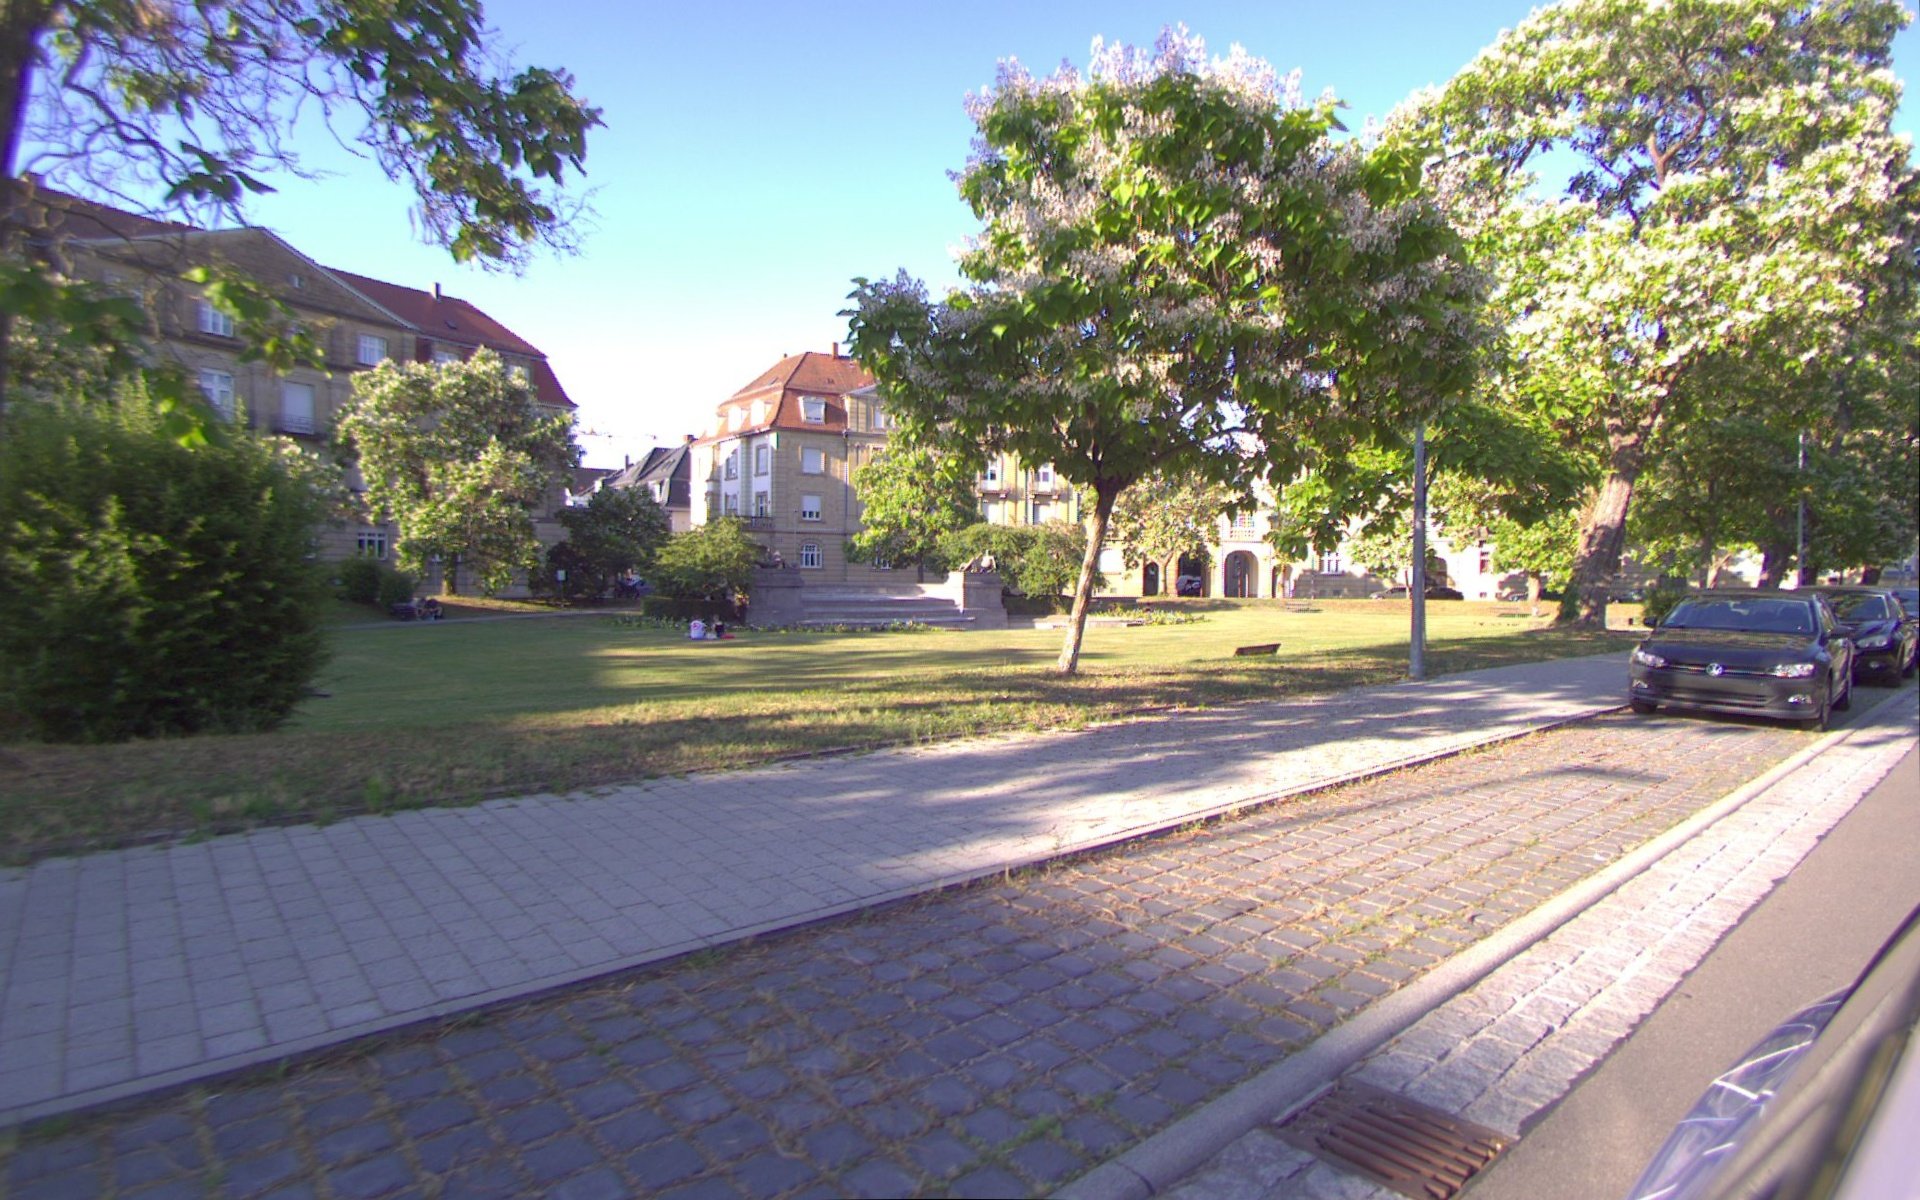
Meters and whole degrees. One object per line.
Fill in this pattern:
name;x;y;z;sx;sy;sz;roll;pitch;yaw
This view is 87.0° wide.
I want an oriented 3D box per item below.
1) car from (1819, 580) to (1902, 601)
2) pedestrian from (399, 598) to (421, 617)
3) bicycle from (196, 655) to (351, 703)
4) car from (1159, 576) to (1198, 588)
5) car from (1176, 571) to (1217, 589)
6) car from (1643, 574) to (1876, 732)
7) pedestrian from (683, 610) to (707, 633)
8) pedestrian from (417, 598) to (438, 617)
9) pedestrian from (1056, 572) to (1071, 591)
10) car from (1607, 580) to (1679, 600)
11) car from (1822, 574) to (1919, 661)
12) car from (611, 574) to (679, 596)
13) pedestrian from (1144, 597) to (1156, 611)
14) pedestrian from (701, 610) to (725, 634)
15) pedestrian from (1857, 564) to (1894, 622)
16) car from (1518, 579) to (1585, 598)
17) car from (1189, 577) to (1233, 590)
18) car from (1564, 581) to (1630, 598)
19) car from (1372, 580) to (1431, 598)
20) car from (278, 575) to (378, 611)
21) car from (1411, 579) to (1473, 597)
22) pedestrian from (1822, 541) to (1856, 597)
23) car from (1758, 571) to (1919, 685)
car;65.062;-0.695;73.144;4.440;1.436;1.905;2;2;44
pedestrian;-24.080;0.306;44.306;0.584;0.804;0.658;1;2;38
bicycle;-11.782;1.340;17.496;1.774;0.622;1.775;0;1;-17
car;26.838;-2.206;124.227;4.283;1.435;1.822;0;2;-6
car;27.590;-2.362;118.038;4.285;2.134;1.821;0;1;-3
car;9.352;0.455;11.711;4.180;1.482;1.627;-2;2;-45
pedestrian;-9.332;0.753;35.652;0.655;0.804;0.586;0;1;6
pedestrian;-23.603;0.311;44.877;0.584;0.804;0.658;1;2;38
pedestrian;8.342;-1.470;81.563;0.933;1.493;0.682;-1;2;-39
car;51.627;-0.808;76.587;4.329;1.435;1.827;1;2;29
car;18.730;0.271;20.149;4.201;1.570;1.735;-1;2;-41
car;-21.291;-1.048;68.397;4.024;1.435;1.817;-1;2;-41
pedestrian;12.736;0.250;67.787;0.663;0.892;0.578;-1;0;-3
pedestrian;-8.665;0.757;35.555;0.655;0.804;0.586;0;1;6
pedestrian;28.204;-0.221;31.172;0.719;1.758;0.754;0;0;-40
car;46.333;-0.907;79.430;4.394;1.435;1.553;1;2;26
car;27.687;-1.817;111.758;4.283;1.435;1.822;0;2;-6
car;52.233;-0.872;83.040;4.411;1.340;1.491;1;2;28
car;36.424;-0.925;83.579;4.316;1.435;1.808;1;2;20
car;-32.190;-0.362;51.657;1.976;1.727;3.972;0;0;21
car;41.866;-1.052;88.016;4.588;1.435;1.809;1;2;18
pedestrian;28.125;-0.971;32.367;0.719;1.758;0.726;0;0;-40
car;14.168;0.324;16.032;4.348;1.570;1.734;-1;2;-43
